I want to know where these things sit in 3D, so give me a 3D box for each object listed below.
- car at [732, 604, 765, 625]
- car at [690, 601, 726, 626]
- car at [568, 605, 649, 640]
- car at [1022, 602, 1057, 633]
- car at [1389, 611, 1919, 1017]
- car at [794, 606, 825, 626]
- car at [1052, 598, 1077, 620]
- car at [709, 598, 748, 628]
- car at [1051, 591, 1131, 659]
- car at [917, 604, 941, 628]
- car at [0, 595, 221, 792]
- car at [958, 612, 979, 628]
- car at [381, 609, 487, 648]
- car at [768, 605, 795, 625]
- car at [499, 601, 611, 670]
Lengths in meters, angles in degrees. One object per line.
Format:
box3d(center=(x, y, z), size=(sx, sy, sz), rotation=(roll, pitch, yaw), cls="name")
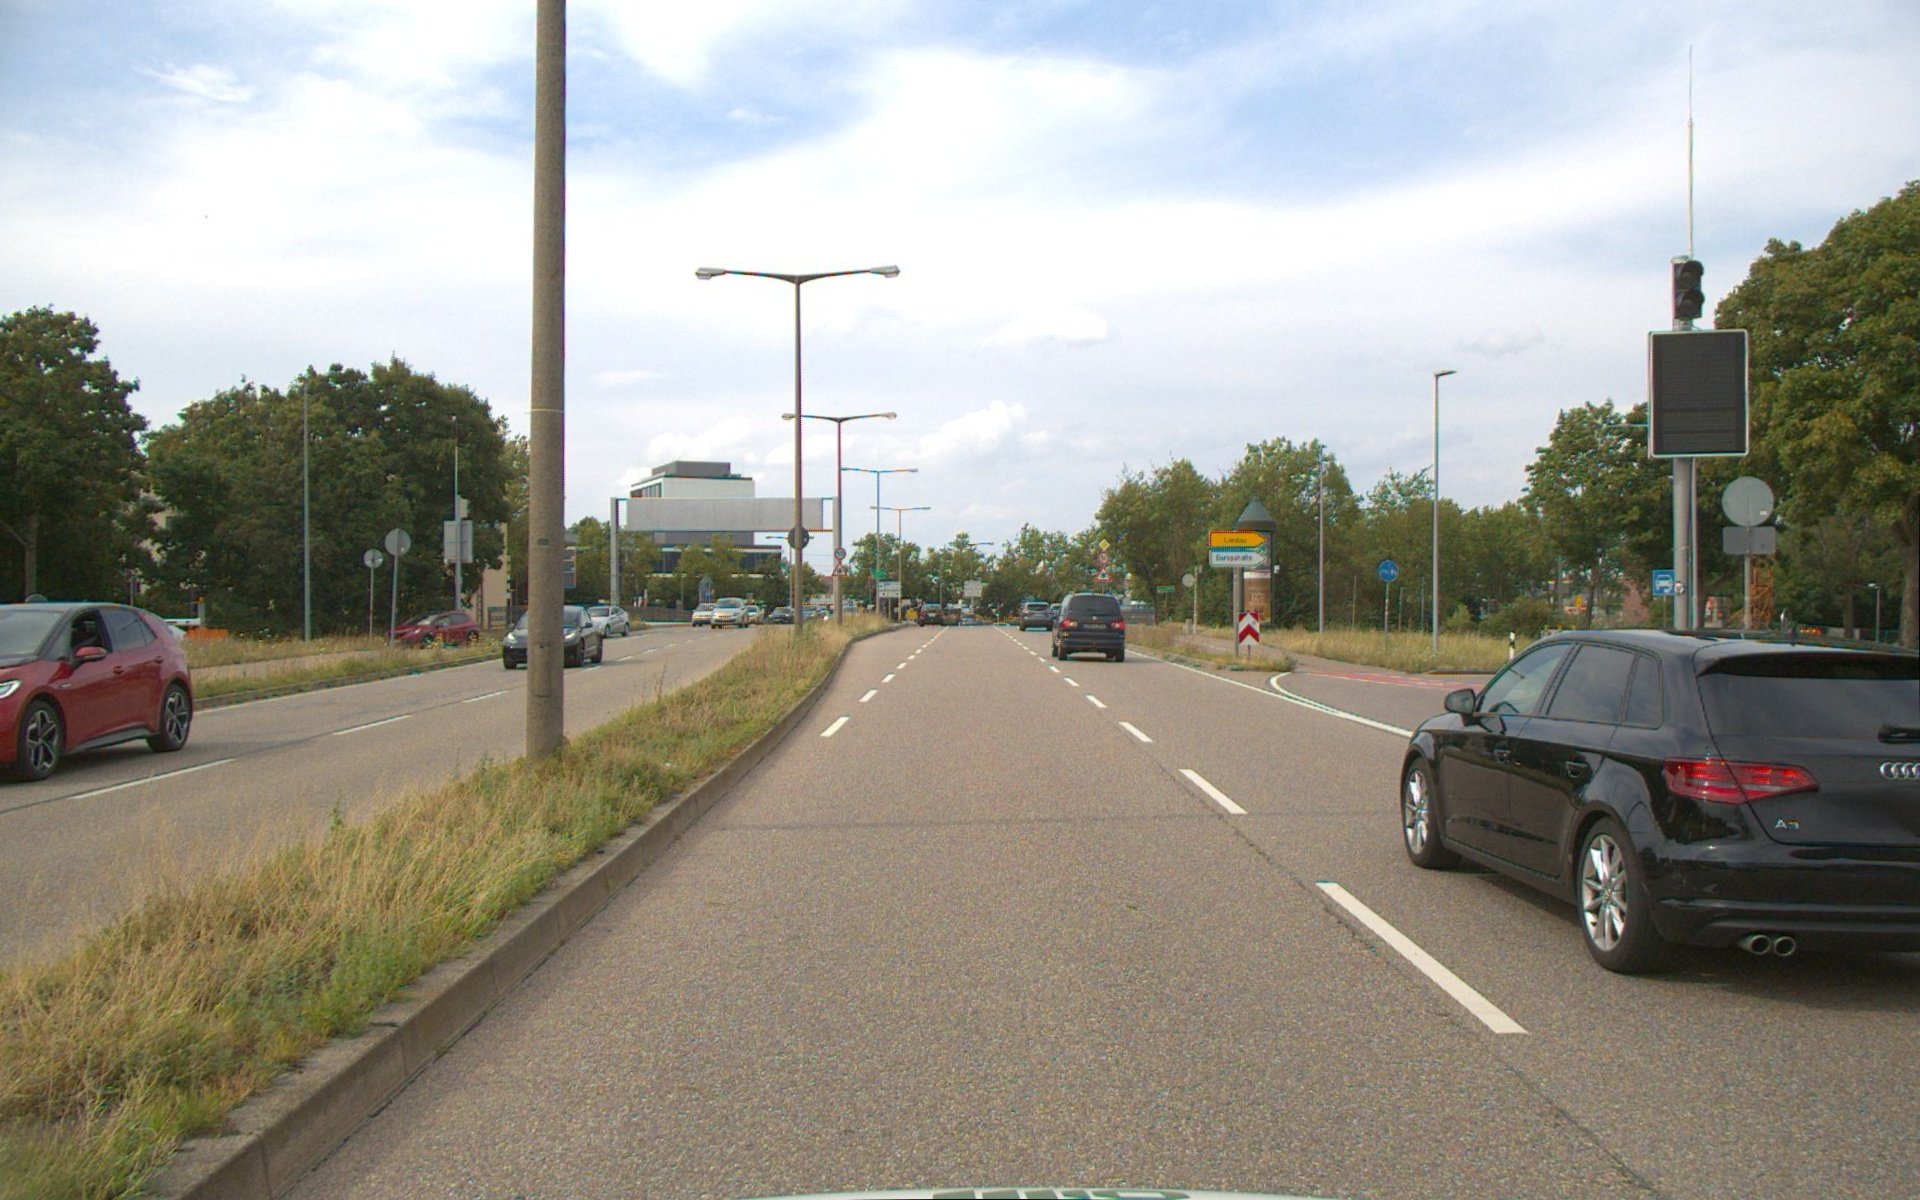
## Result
box3d(center=(-15.672, 1.054, 122.724), size=(1.631, 1.444, 4.315), rotation=(-3, -1, 3), cls="car")
box3d(center=(-15.984, 0.829, 105.173), size=(1.631, 1.443, 4.093), rotation=(-1, 1, 0), cls="car")
box3d(center=(-16.129, 1.015, 76.079), size=(1.708, 1.471, 4.464), rotation=(-1, 0, 16), cls="car")
box3d(center=(4.445, 0.946, 93.416), size=(1.695, 1.682, 4.114), rotation=(1, 0, -1), cls="car")
box3d(center=(3.517, 0.803, 8.075), size=(1.695, 1.419, 4.114), rotation=(1, 0, -1), cls="car")
box3d(center=(-11.360, 1.194, 124.932), size=(1.631, 1.450, 4.520), rotation=(-2, -1, 3), cls="car")
box3d(center=(7.483, 0.628, 118.356), size=(1.476, 1.472, 3.139), rotation=(1, 1, -1), cls="car")
box3d(center=(-12.916, 0.705, 92.423), size=(1.710, 1.626, 4.562), rotation=(-1, 0, -3), cls="car")
box3d(center=(3.426, 0.623, 43.850), size=(1.695, 1.682, 4.114), rotation=(1, 0, -1), cls="car")
box3d(center=(-2.274, 1.151, 122.204), size=(1.695, 1.682, 4.114), rotation=(1, 0, -1), cls="car")
box3d(center=(-8.769, 0.799, 15.689), size=(1.618, 1.602, 4.337), rotation=(-3, 0, -2), cls="car")
box3d(center=(0.808, 1.945, 161.809), size=(1.696, 1.553, 4.111), rotation=(1, 0, -4), cls="car")
box3d(center=(-20.139, 1.077, 63.538), size=(1.482, 1.392, 4.177), rotation=(-1, 0, 24), cls="car")
box3d(center=(-14.964, 1.282, 138.770), size=(1.756, 1.551, 4.593), rotation=(-2, -1, 0), cls="car")
box3d(center=(-9.795, 0.816, 40.295), size=(1.710, 1.501, 4.563), rotation=(-1, 0, -2), cls="car")
